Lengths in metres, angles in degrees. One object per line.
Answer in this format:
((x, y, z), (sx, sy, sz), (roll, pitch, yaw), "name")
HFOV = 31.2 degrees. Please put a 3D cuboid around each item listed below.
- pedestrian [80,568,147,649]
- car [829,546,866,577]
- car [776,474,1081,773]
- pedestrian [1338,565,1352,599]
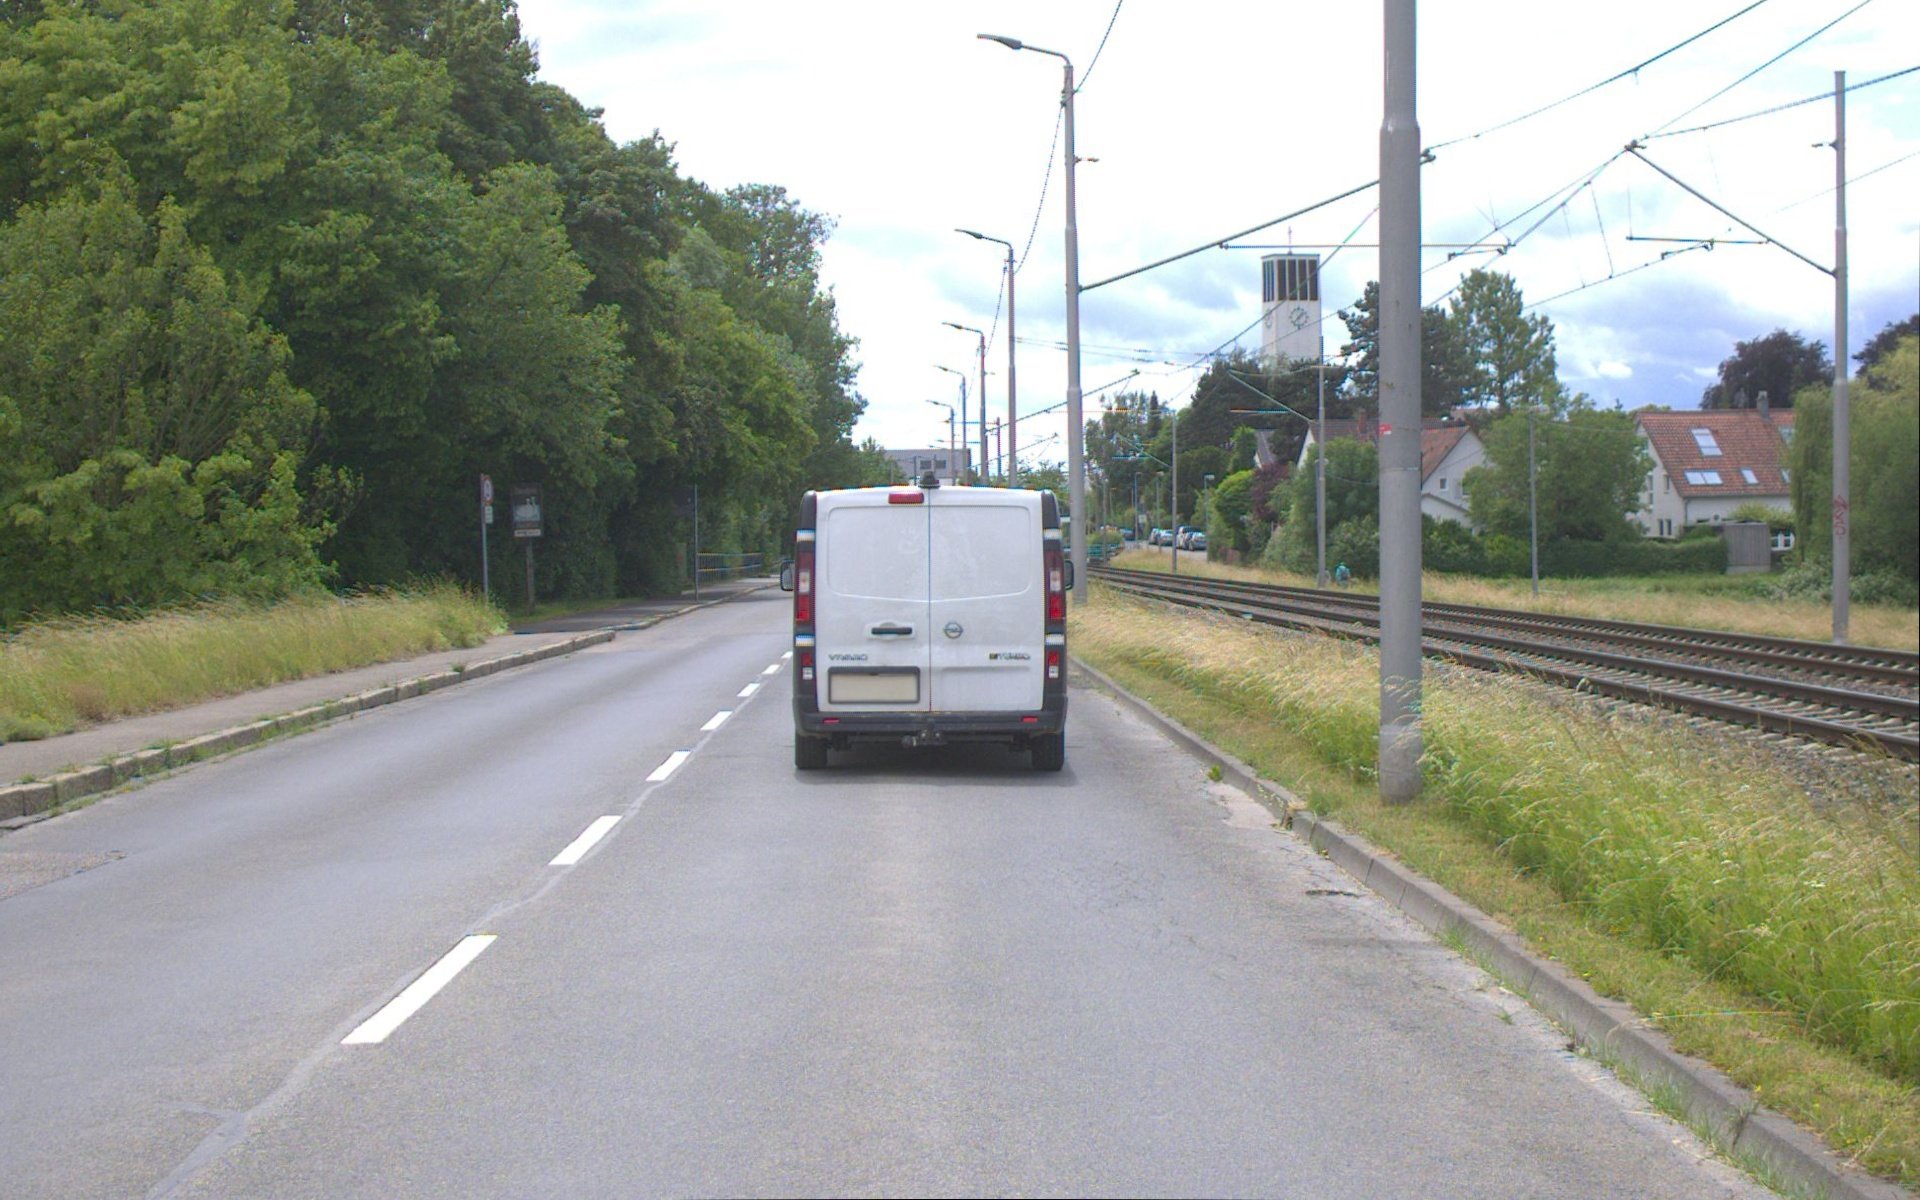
((-16.260, 0.157, 66.068), (1.035, 1.525, 0.941), (-1, 0, 0), "pedestrian")
((-6.249, -2.129, 191.006), (1.993, 1.711, 4.124), (0, 1, -2), "car")
((-0.271, 0.145, 24.493), (1.993, 1.950, 4.000), (0, 0, -2), "car")
((17.073, -0.822, 152.568), (0.526, 1.501, 0.657), (0, 0, -1), "pedestrian")
